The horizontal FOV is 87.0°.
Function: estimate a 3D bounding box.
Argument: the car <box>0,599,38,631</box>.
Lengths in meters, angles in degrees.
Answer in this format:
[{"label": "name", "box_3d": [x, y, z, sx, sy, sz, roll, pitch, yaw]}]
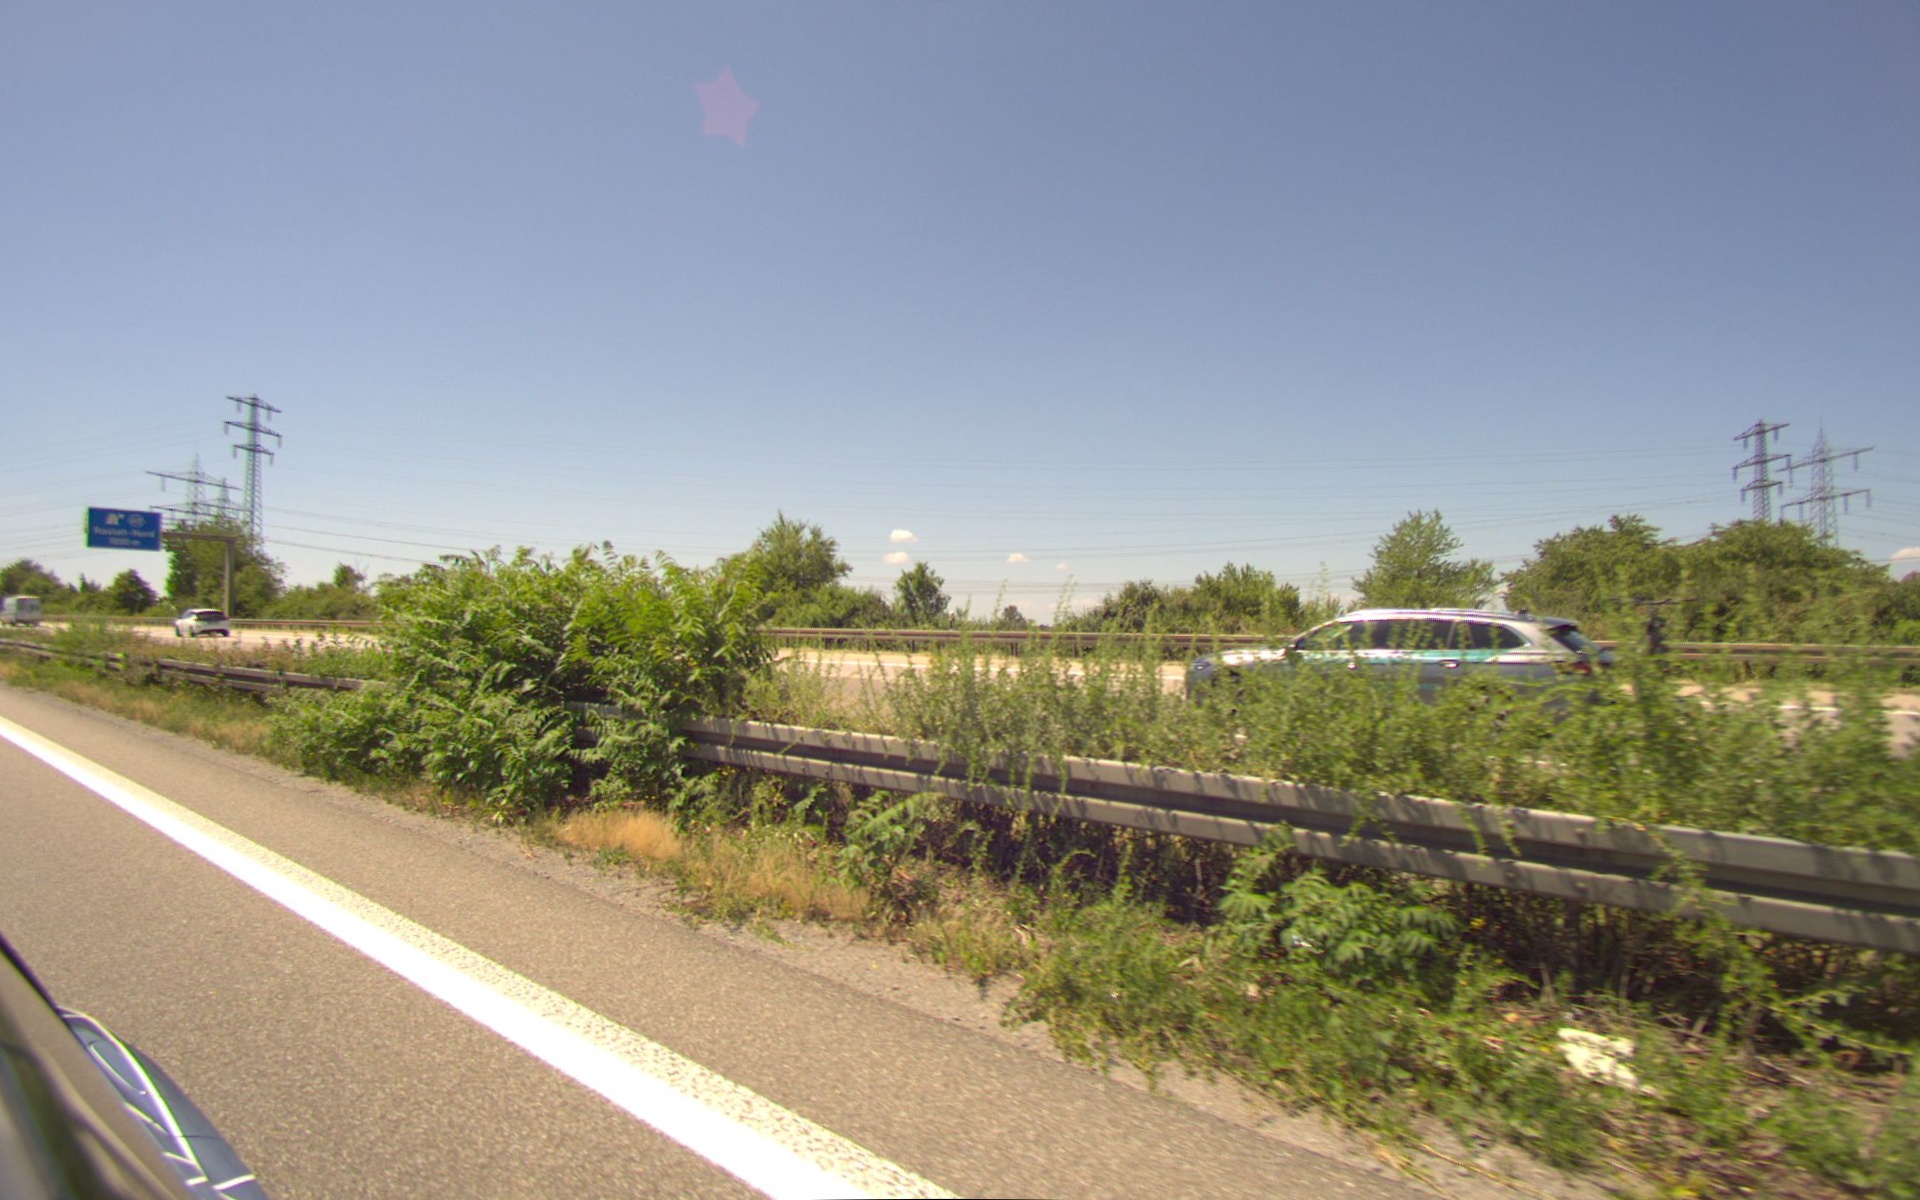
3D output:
[{"label": "car", "box_3d": [-85.098, 1.344, 91.077, 7.171, 2.706, 1.975, -1, 0, 38]}]

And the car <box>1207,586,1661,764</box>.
[{"label": "car", "box_3d": [5.429, 0.736, 11.922, 4.500, 1.701, 1.973, -1, -1, 40]}]

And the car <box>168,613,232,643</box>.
[{"label": "car", "box_3d": [-43.207, 1.571, 57.500, 4.821, 1.552, 1.730, -1, 1, 39]}]
